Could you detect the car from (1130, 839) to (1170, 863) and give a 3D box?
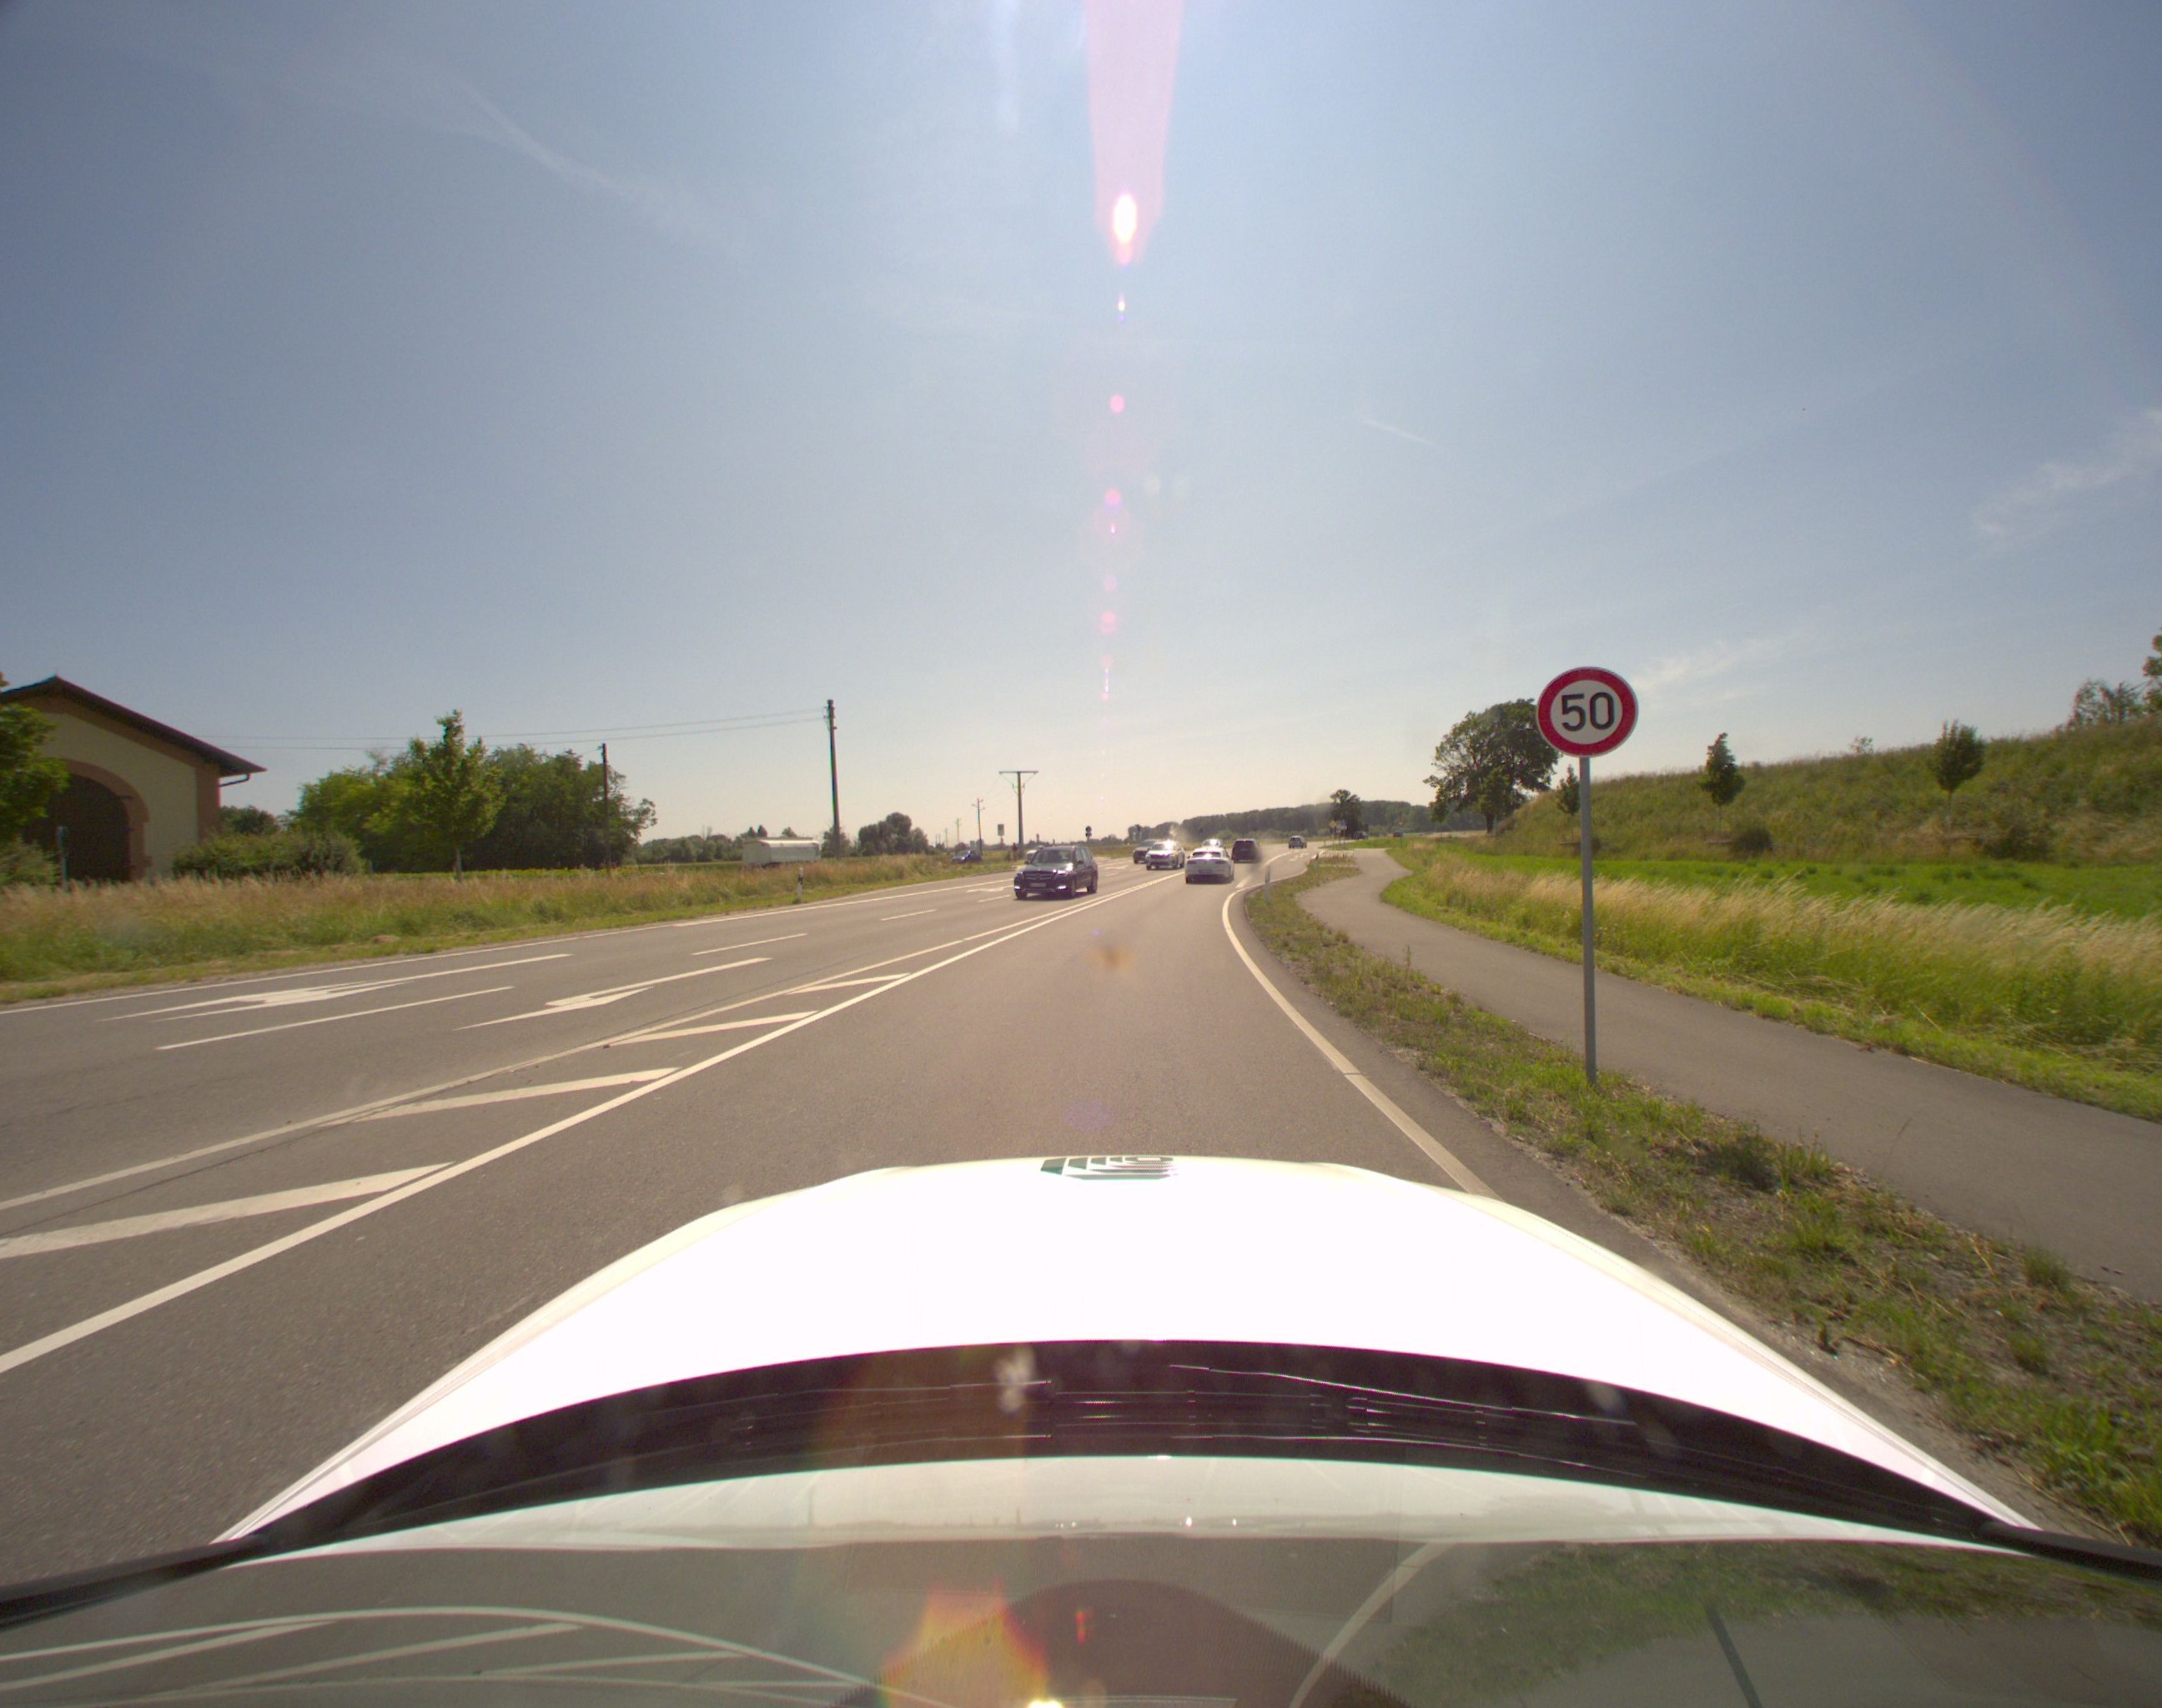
[{"bbox_3d":[5.096,-0.253,59.842,1.946,1.650,4.811,-1,1,16],"label":"car"}]

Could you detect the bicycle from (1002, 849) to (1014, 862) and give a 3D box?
[{"bbox_3d":[-6.888,0.161,77.137,0.486,1.248,1.519,-1,0,24],"label":"bicycle"}]

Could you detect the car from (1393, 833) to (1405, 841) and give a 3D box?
[{"bbox_3d":[70.040,-3.832,179.218,1.782,1.521,3.907,-6,-1,31],"label":"car"}]

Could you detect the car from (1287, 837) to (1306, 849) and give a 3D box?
[{"bbox_3d":[25.699,-1.305,96.974,1.784,1.428,4.114,1,2,21],"label":"car"}]

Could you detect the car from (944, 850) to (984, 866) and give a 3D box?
[{"bbox_3d":[-10.431,0.311,72.782,1.659,1.387,3.860,-1,0,24],"label":"car"}]

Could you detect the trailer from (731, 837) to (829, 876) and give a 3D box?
[{"bbox_3d":[-20.157,0.094,54.999,2.656,2.455,6.414,-1,1,19],"label":"trailer"}]

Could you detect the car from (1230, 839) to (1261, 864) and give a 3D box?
[{"bbox_3d":[11.777,-0.166,58.088,1.921,1.616,4.393,-3,-1,13],"label":"car"}]

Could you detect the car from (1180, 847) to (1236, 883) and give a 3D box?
[{"bbox_3d":[5.492,0.443,34.703,1.834,1.433,4.627,-1,0,15],"label":"car"}]

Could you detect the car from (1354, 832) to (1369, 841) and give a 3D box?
[{"bbox_3d":[48.739,-3.029,141.481,1.783,1.476,4.441,-4,-2,26],"label":"car"}]

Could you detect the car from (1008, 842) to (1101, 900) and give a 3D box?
[{"bbox_3d":[-0.744,0.490,26.460,1.852,1.650,4.344,-1,1,14],"label":"car"}]

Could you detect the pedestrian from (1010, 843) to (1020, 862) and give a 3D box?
[{"bbox_3d":[-6.226,-0.120,77.271,0.603,1.785,0.851,-1,0,24],"label":"pedestrian"}]

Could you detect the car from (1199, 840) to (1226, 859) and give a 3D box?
[{"bbox_3d":[11.081,-0.385,68.445,1.719,1.555,4.398,-1,1,16],"label":"car"}]

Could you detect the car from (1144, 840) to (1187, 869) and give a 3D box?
[{"bbox_3d":[5.200,0.022,49.617,1.864,1.650,4.862,-1,0,14],"label":"car"}]

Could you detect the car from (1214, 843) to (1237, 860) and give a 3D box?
[{"bbox_3d":[13.781,-0.253,77.599,1.719,1.555,4.398,-1,1,16],"label":"car"}]

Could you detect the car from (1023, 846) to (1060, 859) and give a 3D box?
[{"bbox_3d":[-4.137,-0.193,86.583,1.675,1.332,4.063,-1,0,38],"label":"car"}]
